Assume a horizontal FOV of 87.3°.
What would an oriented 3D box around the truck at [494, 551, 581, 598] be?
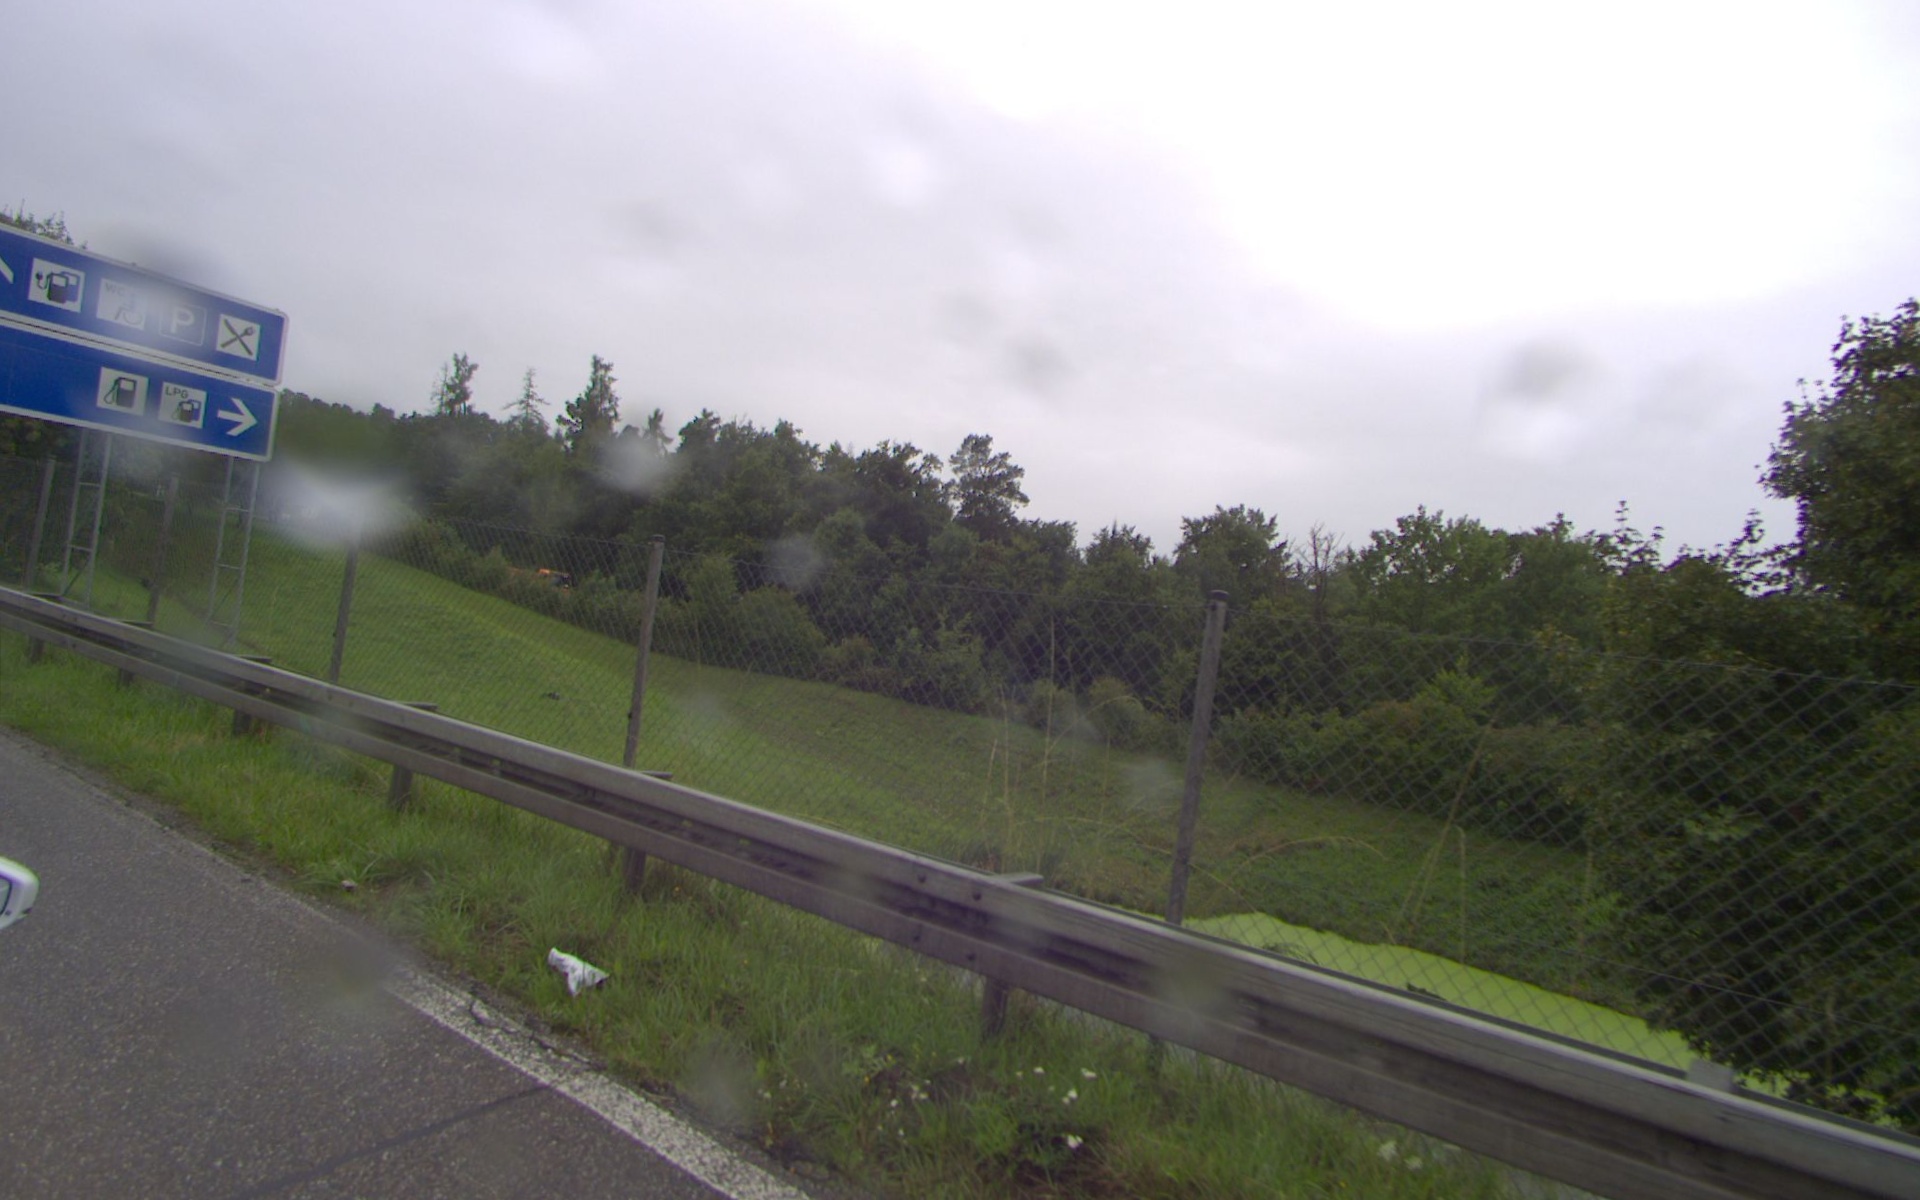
[{"bbox_3d":[-35.899,-2.191,85.358,8.139,2.686,2.833,8,-6,38],"label":"truck"}]
